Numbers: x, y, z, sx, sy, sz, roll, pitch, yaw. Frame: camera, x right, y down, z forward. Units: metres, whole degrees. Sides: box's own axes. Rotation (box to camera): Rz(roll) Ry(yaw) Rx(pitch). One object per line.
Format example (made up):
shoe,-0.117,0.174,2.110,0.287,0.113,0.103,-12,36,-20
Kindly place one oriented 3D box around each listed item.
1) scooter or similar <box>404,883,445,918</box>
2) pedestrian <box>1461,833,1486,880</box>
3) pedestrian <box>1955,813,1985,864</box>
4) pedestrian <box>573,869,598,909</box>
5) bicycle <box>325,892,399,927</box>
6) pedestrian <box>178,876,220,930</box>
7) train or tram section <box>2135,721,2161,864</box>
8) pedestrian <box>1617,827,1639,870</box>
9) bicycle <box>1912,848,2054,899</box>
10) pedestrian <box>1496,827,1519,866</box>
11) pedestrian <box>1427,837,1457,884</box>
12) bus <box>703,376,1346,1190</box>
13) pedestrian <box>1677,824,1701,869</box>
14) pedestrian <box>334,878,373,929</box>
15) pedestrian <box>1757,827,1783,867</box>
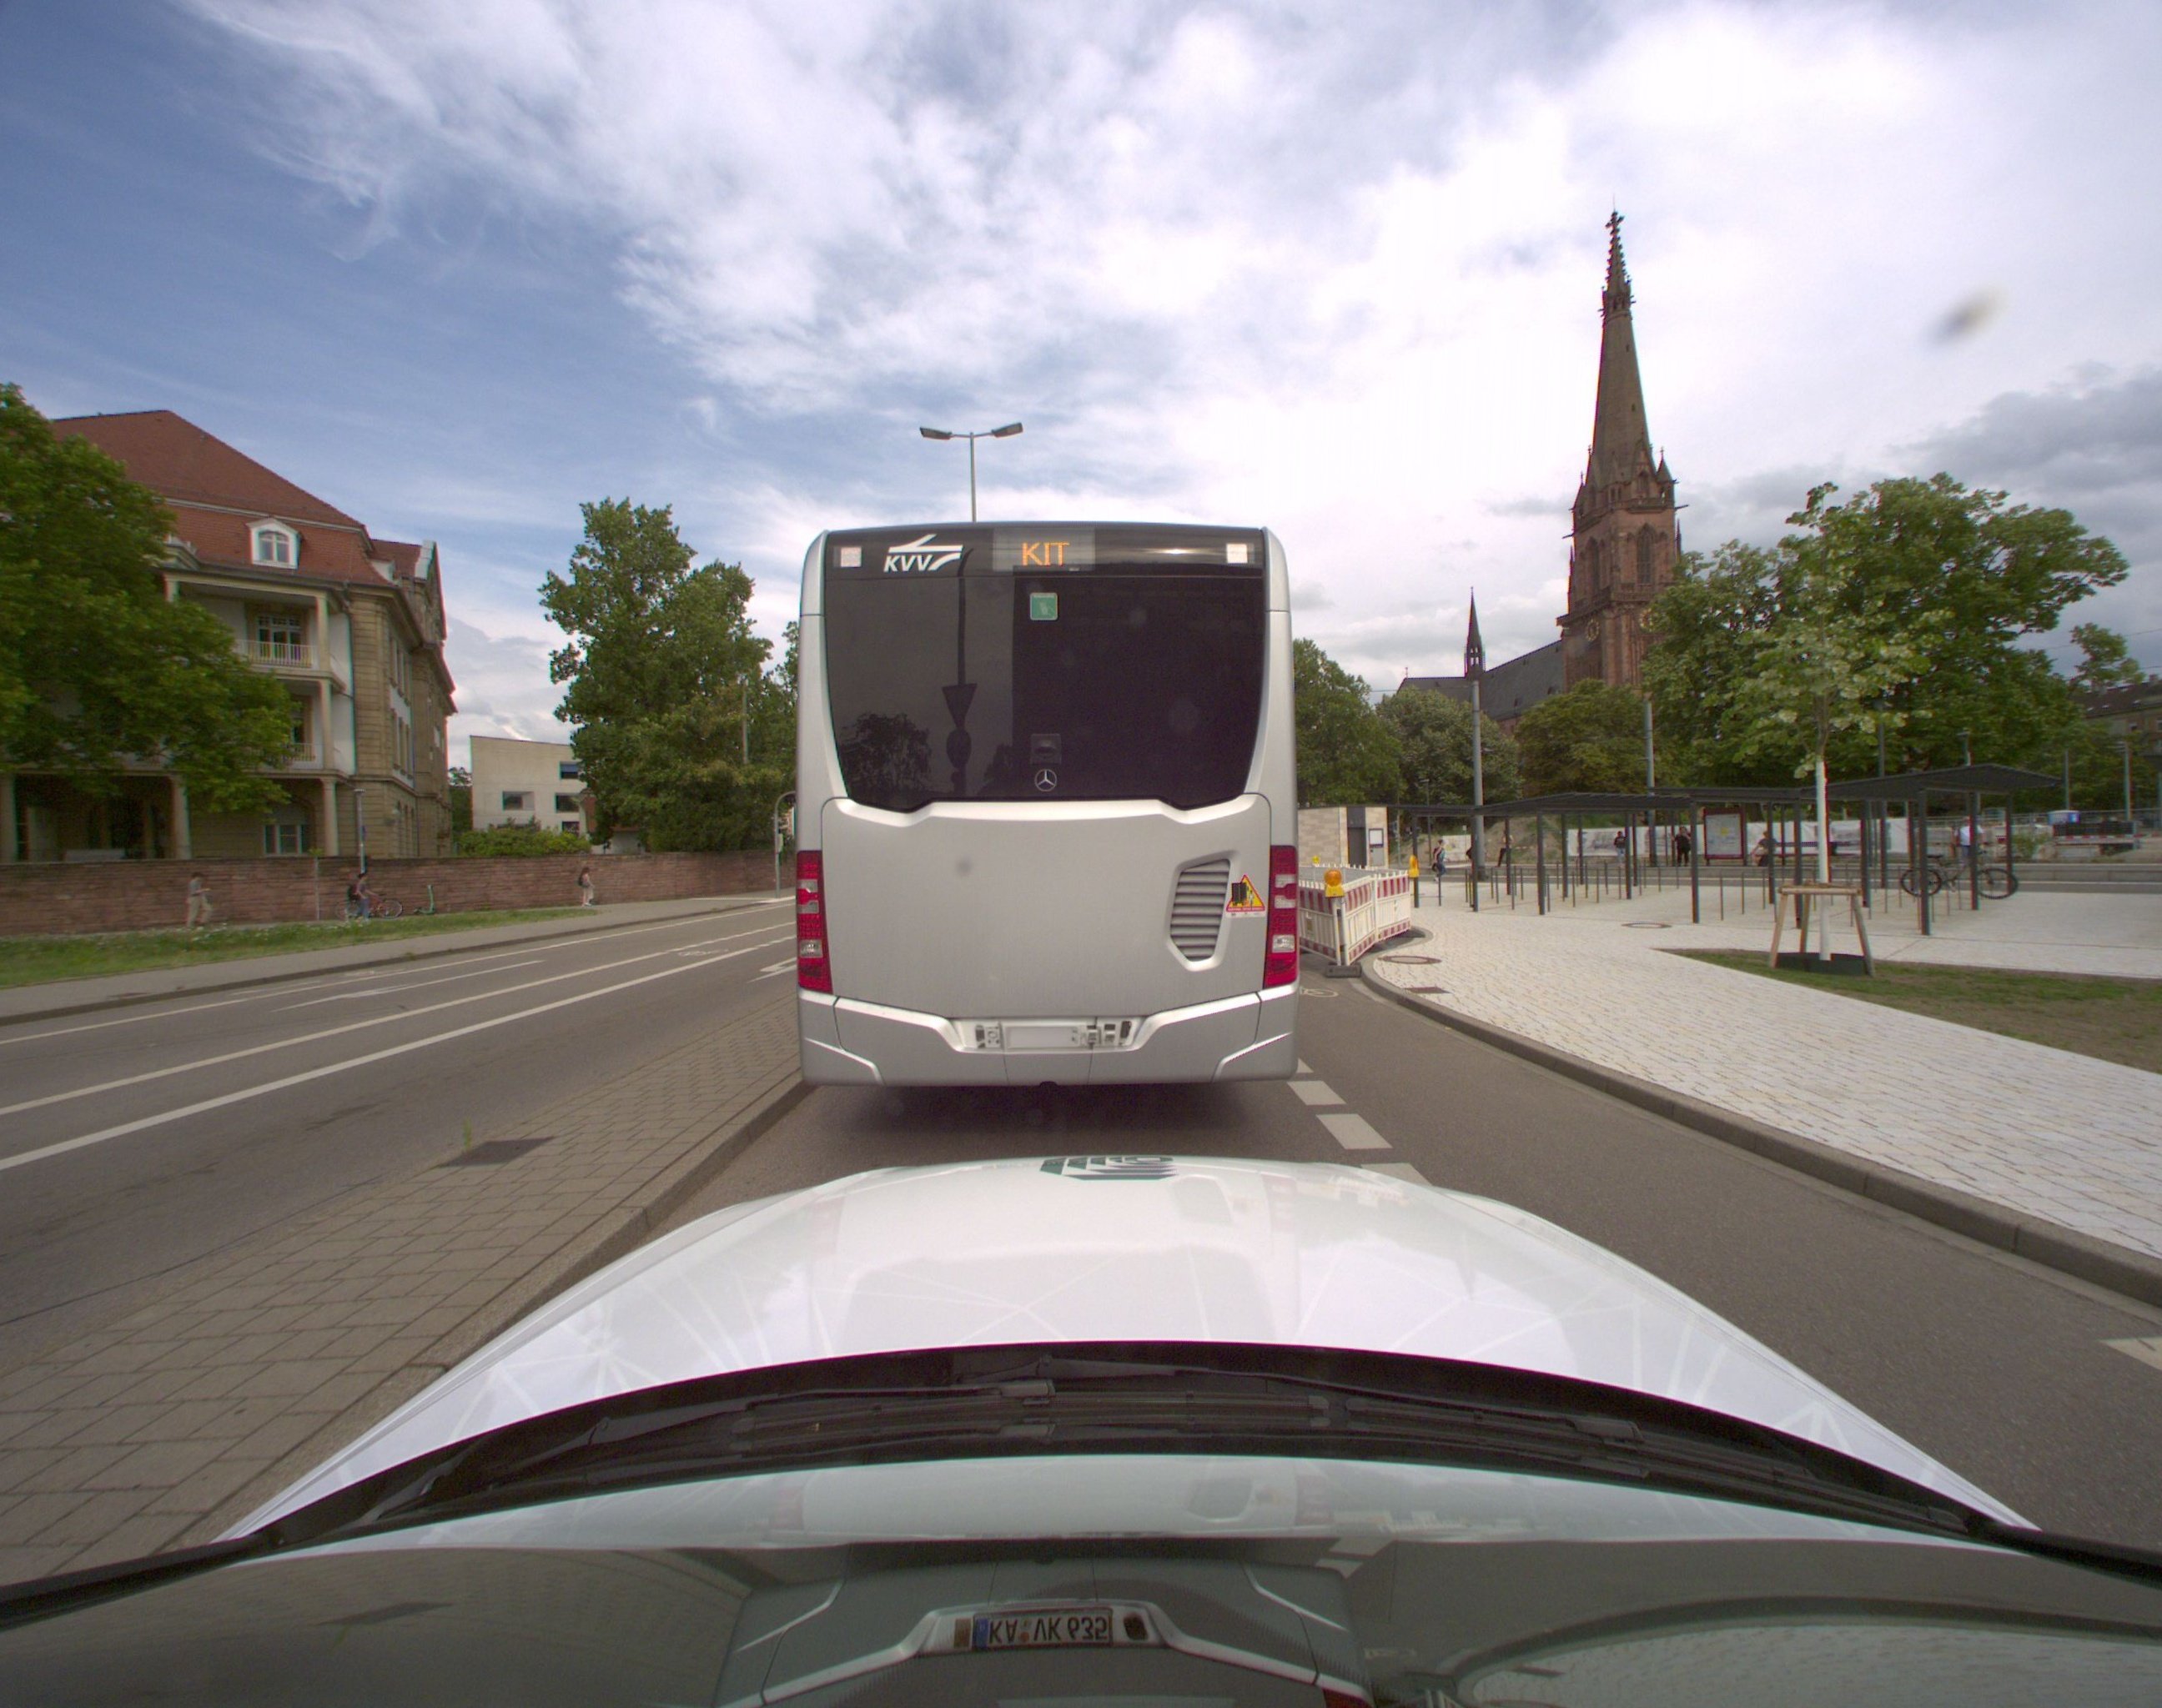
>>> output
scooter or similar,-24.475,1.717,30.388,0.519,1.139,1.513,-2,3,-13
pedestrian,14.154,0.076,29.341,0.534,1.654,0.623,-3,3,-36
pedestrian,29.688,-0.526,27.197,0.714,1.677,0.670,-4,3,-42
pedestrian,-21.052,1.484,34.610,0.525,1.654,0.634,0,3,29
bicycle,-25.720,1.960,29.171,1.937,1.005,0.770,-4,3,-42
pedestrian,-28.206,1.553,26.055,0.570,1.654,0.787,0,3,38
train or tram section,28.335,-1.384,15.936,3.076,3.276,9.270,-3,3,-35
pedestrian,23.211,-0.230,34.555,0.526,1.800,0.670,-4,3,-42
bicycle,18.746,0.386,16.976,0.587,0.955,1.944,-3,3,-38
pedestrian,20.430,-0.366,39.026,0.816,1.800,0.755,-1,2,11
pedestrian,12.658,0.210,28.535,0.541,1.603,0.789,-3,3,-36
bus,0.032,-0.262,10.599,2.694,3.438,14.191,-1,0,2
pedestrian,24.534,-0.300,32.856,0.526,1.800,0.670,-4,3,-42
pedestrian,-24.903,1.695,27.876,0.570,1.654,0.787,0,3,33
pedestrian,26.061,-0.280,30.797,0.694,1.485,0.670,-4,3,-42
